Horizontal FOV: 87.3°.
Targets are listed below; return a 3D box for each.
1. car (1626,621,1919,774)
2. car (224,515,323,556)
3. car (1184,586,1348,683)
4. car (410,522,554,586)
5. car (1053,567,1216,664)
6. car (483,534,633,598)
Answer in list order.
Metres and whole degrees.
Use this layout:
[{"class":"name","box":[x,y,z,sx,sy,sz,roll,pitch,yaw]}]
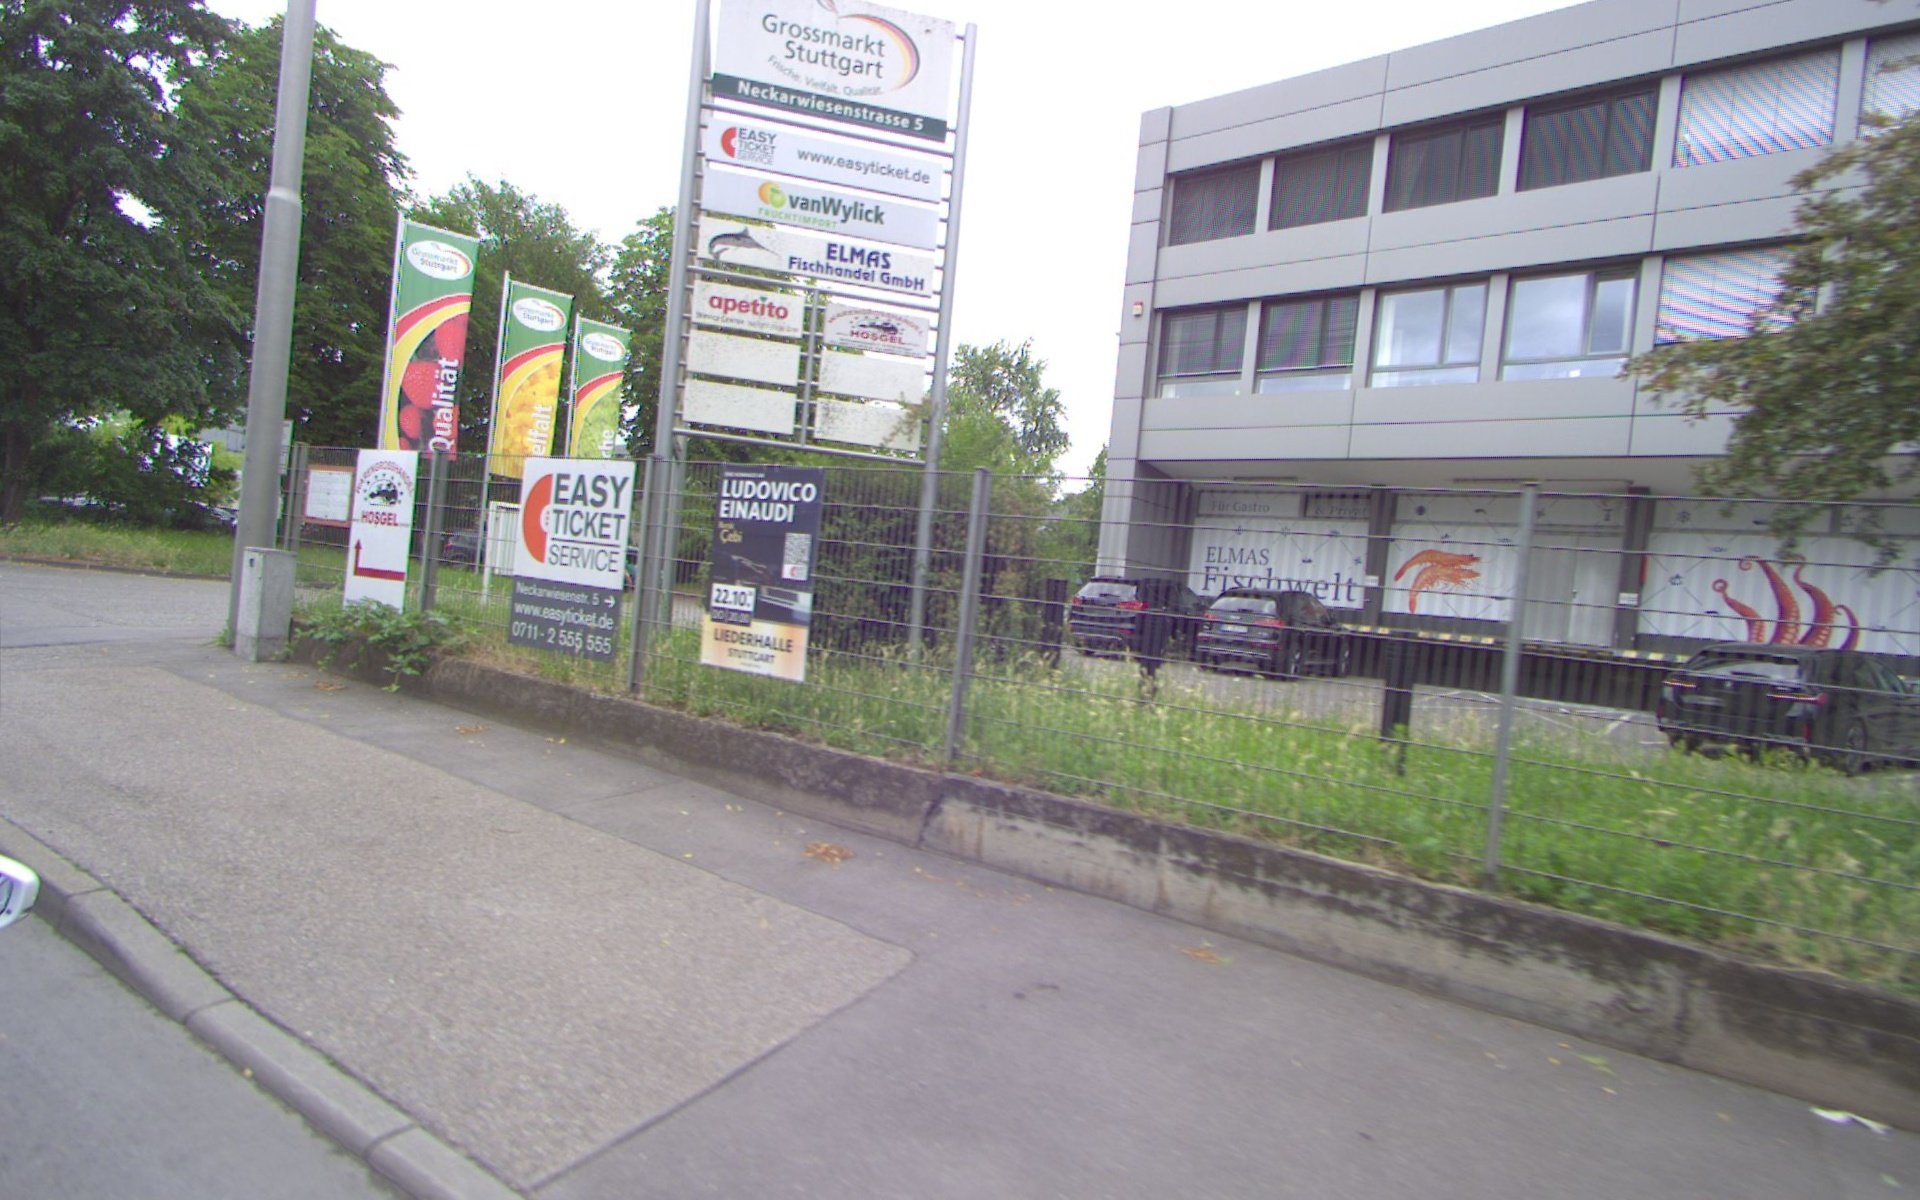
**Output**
[{"class":"car","box":[11.171,1.318,13.291,4.808,1.554,2.006,6,1,-32]},{"class":"car","box":[-36.668,-3.446,53.816,1.802,1.668,3.945,7,1,36]},{"class":"car","box":[6.027,0.701,19.574,1.802,1.554,3.699,7,1,36]},{"class":"car","box":[-16.198,-1.530,34.234,1.802,1.668,3.945,7,1,36]},{"class":"car","box":[3.767,0.376,21.288,1.830,1.695,3.699,7,1,36]},{"class":"car","box":[-12.529,-1.035,31.565,1.802,1.554,3.945,7,1,36]}]
